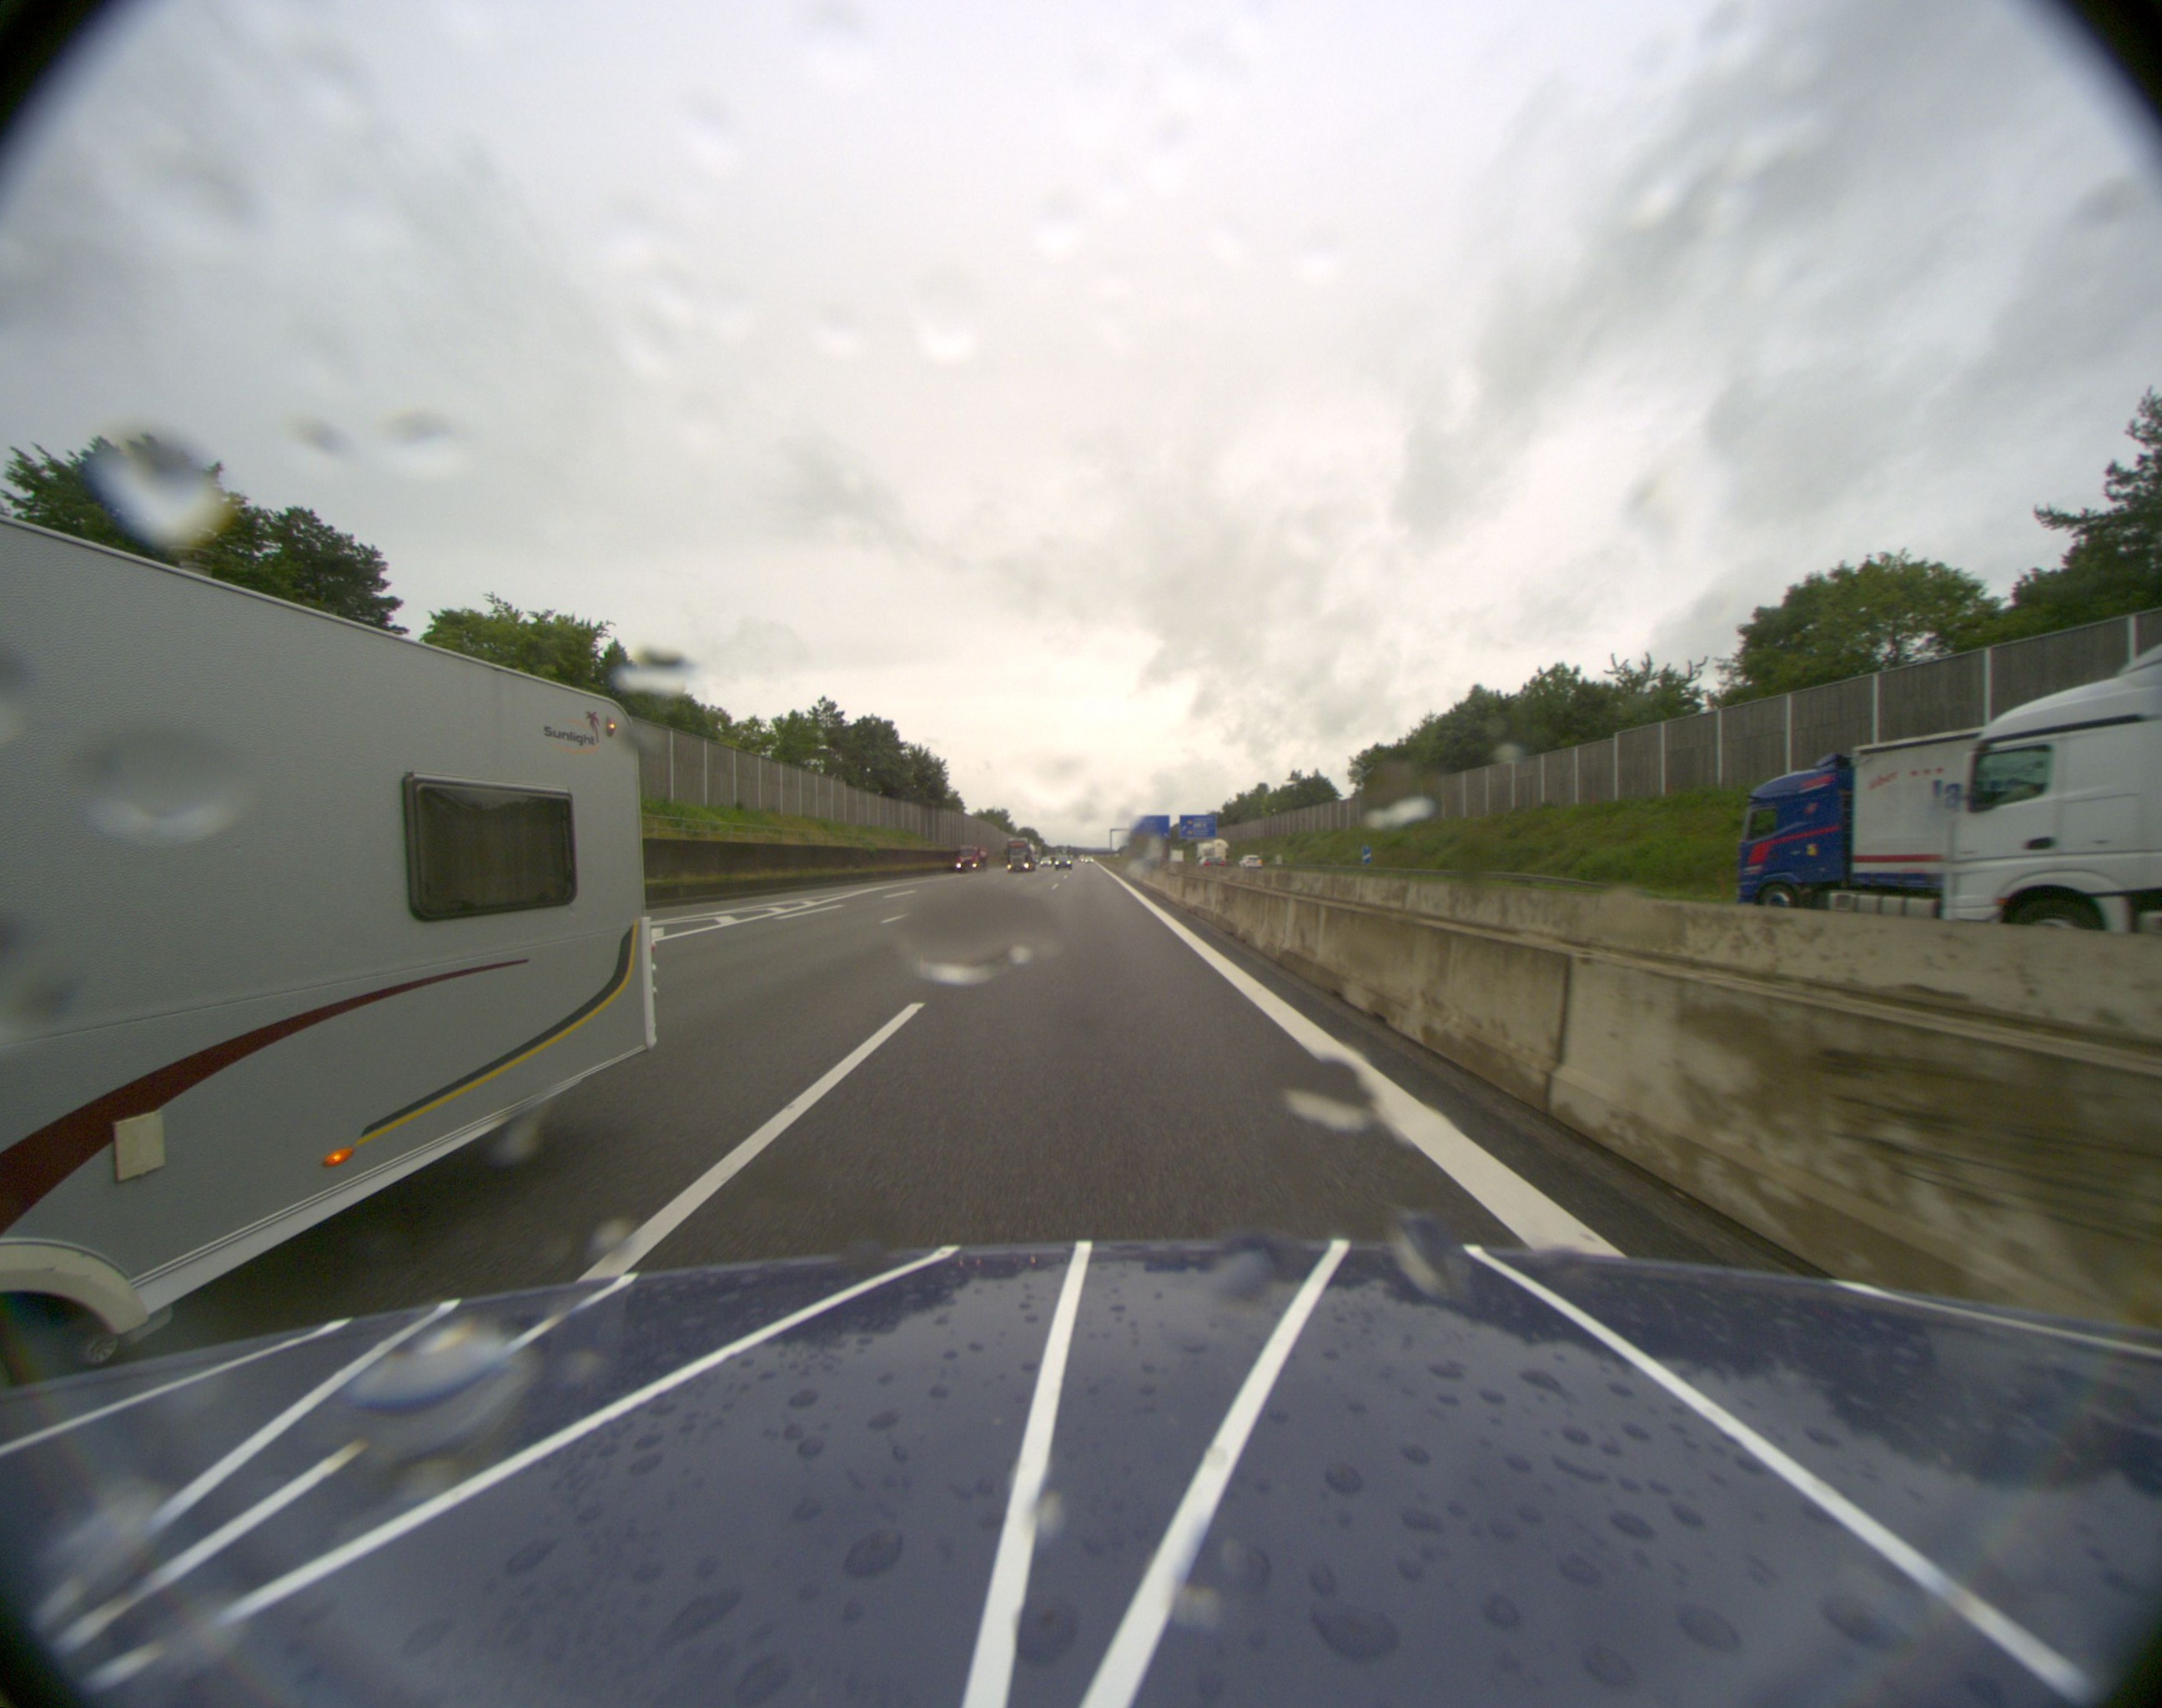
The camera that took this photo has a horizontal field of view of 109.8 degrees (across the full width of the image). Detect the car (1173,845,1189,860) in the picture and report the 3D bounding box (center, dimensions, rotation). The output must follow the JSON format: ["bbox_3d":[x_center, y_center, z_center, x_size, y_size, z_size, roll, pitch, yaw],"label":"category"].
[{"bbox_3d":[20.556,-0.395,156.152,2.369,2.953,6.688,-1,0,0],"label":"car"}]

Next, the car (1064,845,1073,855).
[{"bbox_3d":[-3.679,-1.173,221.088,2.769,2.591,5.807,-1,0,-1],"label":"car"}]

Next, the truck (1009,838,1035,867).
[{"bbox_3d":[-6.823,-0.155,88.746,2.617,3.218,4.632,-1,0,1],"label":"truck"}]

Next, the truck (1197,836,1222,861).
[{"bbox_3d":[19.298,-0.797,114.039,2.707,3.537,5.857,2,1,1],"label":"truck"}]

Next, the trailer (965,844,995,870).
[{"bbox_3d":[-13.481,0.349,101.772,2.452,3.229,9.401,-1,0,1],"label":"trailer"}]

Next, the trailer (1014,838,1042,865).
[{"bbox_3d":[-6.620,-0.304,95.612,2.600,3.229,9.915,-1,0,1],"label":"trailer"}]

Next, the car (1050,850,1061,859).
[{"bbox_3d":[-5.256,0.091,158.613,1.998,1.747,4.000,-2,1,1],"label":"car"}]

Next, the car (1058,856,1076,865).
[{"bbox_3d":[-1.741,0.780,95.507,2.061,1.020,3.438,-3,1,1],"label":"car"}]

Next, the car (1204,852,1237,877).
[{"bbox_3d":[11.720,0.816,64.095,1.998,2.002,4.768,-1,0,1],"label":"car"}]

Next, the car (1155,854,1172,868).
[{"bbox_3d":[11.945,1.004,109.760,1.998,2.002,4.768,-1,0,1],"label":"car"}]

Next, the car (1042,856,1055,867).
[{"bbox_3d":[-5.571,1.306,131.717,1.916,1.630,3.999,-3,1,1],"label":"car"}]

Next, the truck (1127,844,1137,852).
[{"bbox_3d":[17.461,-1.950,259.384,2.982,2.756,7.262,-1,0,0],"label":"truck"}]

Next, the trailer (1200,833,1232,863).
[{"bbox_3d":[19.218,-0.901,108.572,2.718,3.901,10.644,2,1,1],"label":"trailer"}]

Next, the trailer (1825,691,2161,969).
[{"bbox_3d":[18.233,-0.365,9.936,3.097,4.300,14.336,-1,1,1],"label":"trailer"}]

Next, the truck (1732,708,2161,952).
[{"bbox_3d":[18.318,-0.457,16.539,3.097,4.300,6.097,-1,1,1],"label":"truck"}]

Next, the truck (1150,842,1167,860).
[{"bbox_3d":[20.032,-0.696,197.119,3.326,4.216,11.145,-3,0,0],"label":"truck"}]

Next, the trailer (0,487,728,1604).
[{"bbox_3d":[-3.923,0.485,1.544,2.728,2.627,7.511,-2,0,1],"label":"trailer"}]

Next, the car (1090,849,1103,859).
[{"bbox_3d":[3.570,0.045,177.427,2.680,2.341,5.807,-1,0,-1],"label":"car"}]

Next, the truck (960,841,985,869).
[{"bbox_3d":[-13.636,0.144,95.954,2.420,3.445,4.000,-1,1,1],"label":"truck"}]

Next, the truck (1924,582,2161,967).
[{"bbox_3d":[13.451,-0.926,7.810,2.786,4.300,6.096,-3,1,1],"label":"truck"}]

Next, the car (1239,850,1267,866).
[{"bbox_3d":[19.087,0.423,84.513,1.998,1.633,4.960,-1,0,1],"label":"car"}]
